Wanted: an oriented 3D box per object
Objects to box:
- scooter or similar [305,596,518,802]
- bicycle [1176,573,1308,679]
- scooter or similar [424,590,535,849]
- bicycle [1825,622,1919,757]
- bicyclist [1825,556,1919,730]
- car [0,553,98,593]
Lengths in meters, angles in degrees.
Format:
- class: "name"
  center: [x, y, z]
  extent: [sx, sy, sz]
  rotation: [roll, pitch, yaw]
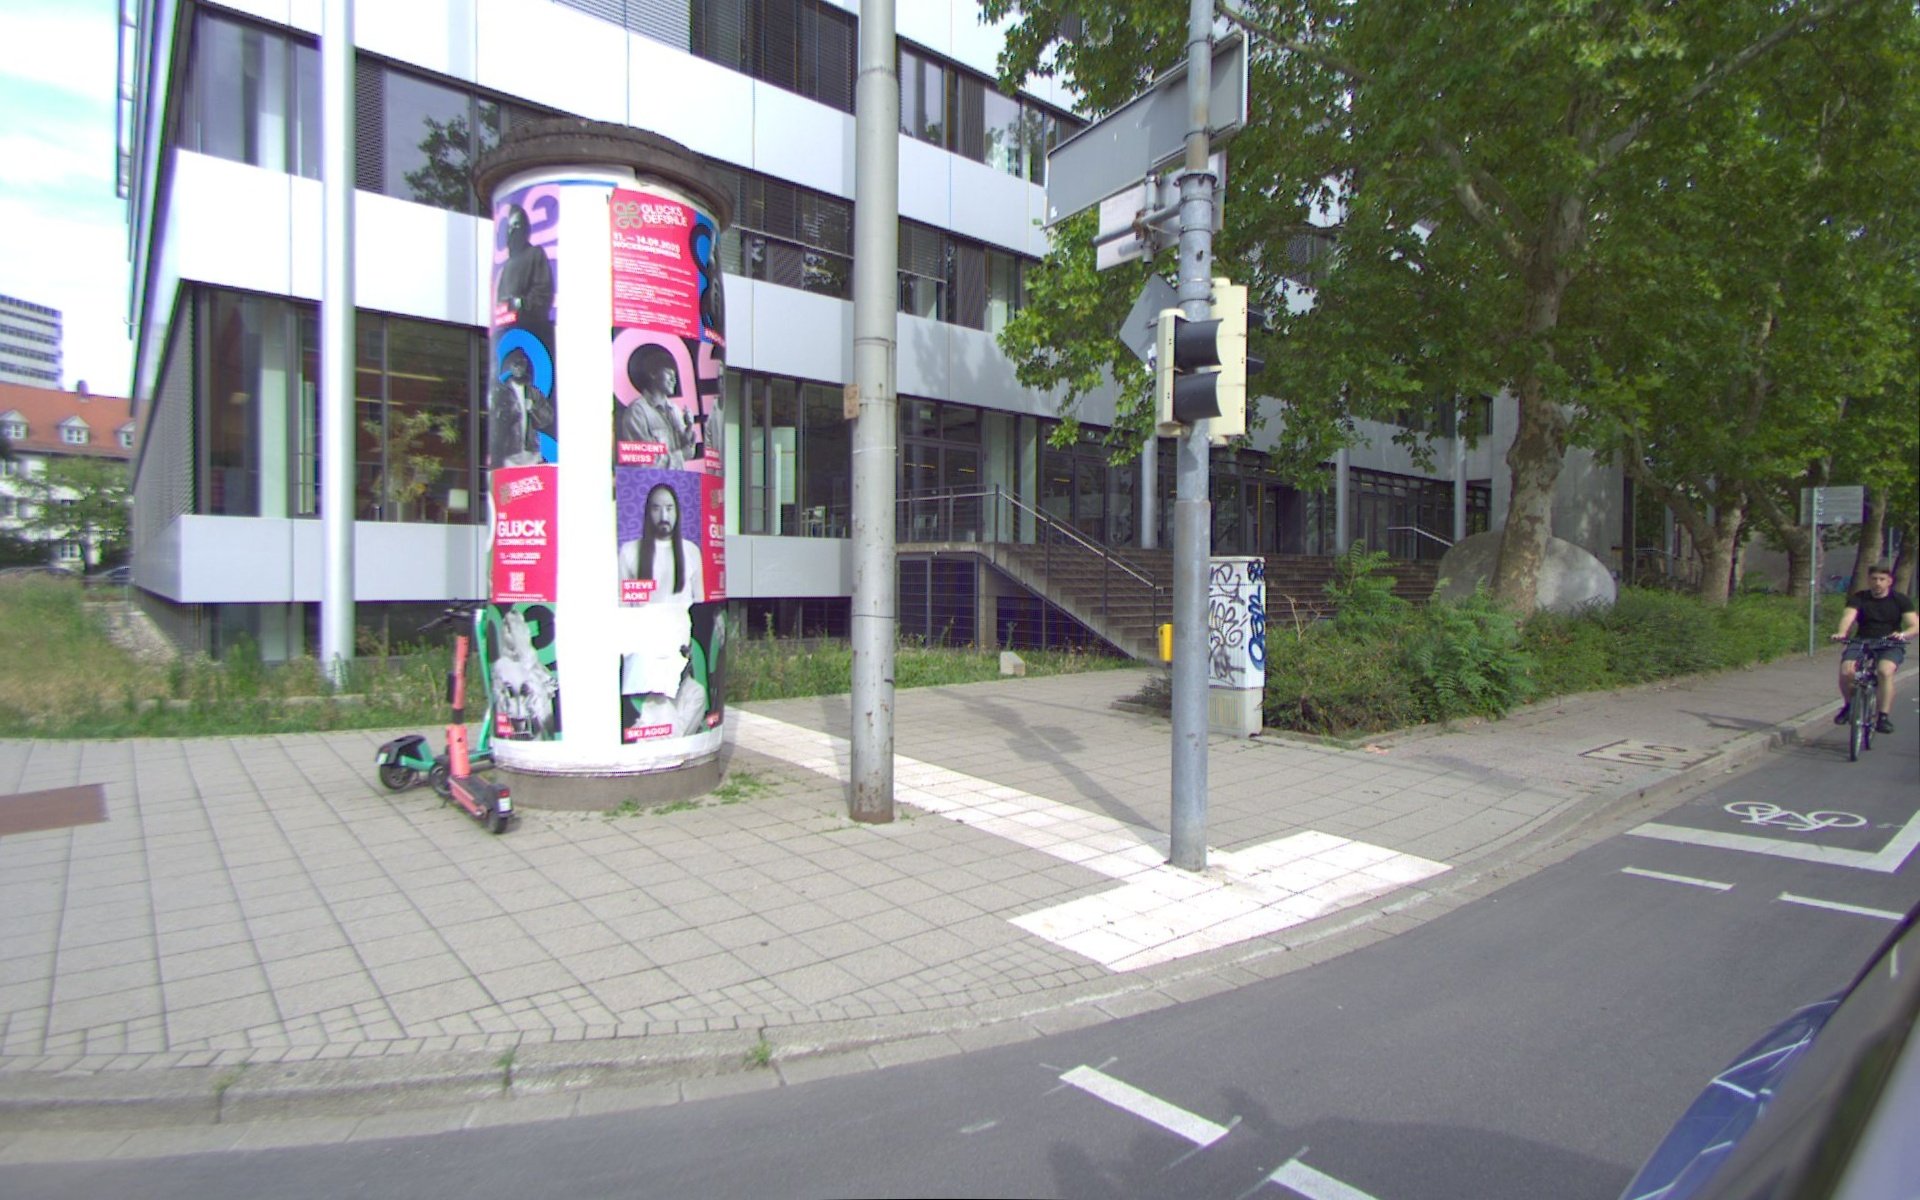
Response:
- class: "scooter or similar"
  center: [-3.542, 0.583, 6.647]
  extent: [0.465, 1.151, 1.305]
  rotation: [2, 3, 15]
- class: "bicycle"
  center: [3.401, 0.282, 12.143]
  extent: [1.695, 1.184, 0.699]
  rotation: [-1, -1, -41]
- class: "scooter or similar"
  center: [-2.710, 0.589, 5.653]
  extent: [0.338, 1.224, 1.311]
  rotation: [0, 3, -35]
- class: "bicycle"
  center: [8.892, 0.808, 9.710]
  extent: [0.769, 1.145, 1.976]
  rotation: [-2, -2, 38]
- class: "bicyclist"
  center: [8.934, 0.402, 9.784]
  extent: [0.769, 1.604, 0.790]
  rotation: [-2, -2, 38]
- class: "car"
  center: [-49.102, -1.429, 54.577]
  extent: [3.930, 2.039, 1.997]
  rotation: [-1, 0, -40]
